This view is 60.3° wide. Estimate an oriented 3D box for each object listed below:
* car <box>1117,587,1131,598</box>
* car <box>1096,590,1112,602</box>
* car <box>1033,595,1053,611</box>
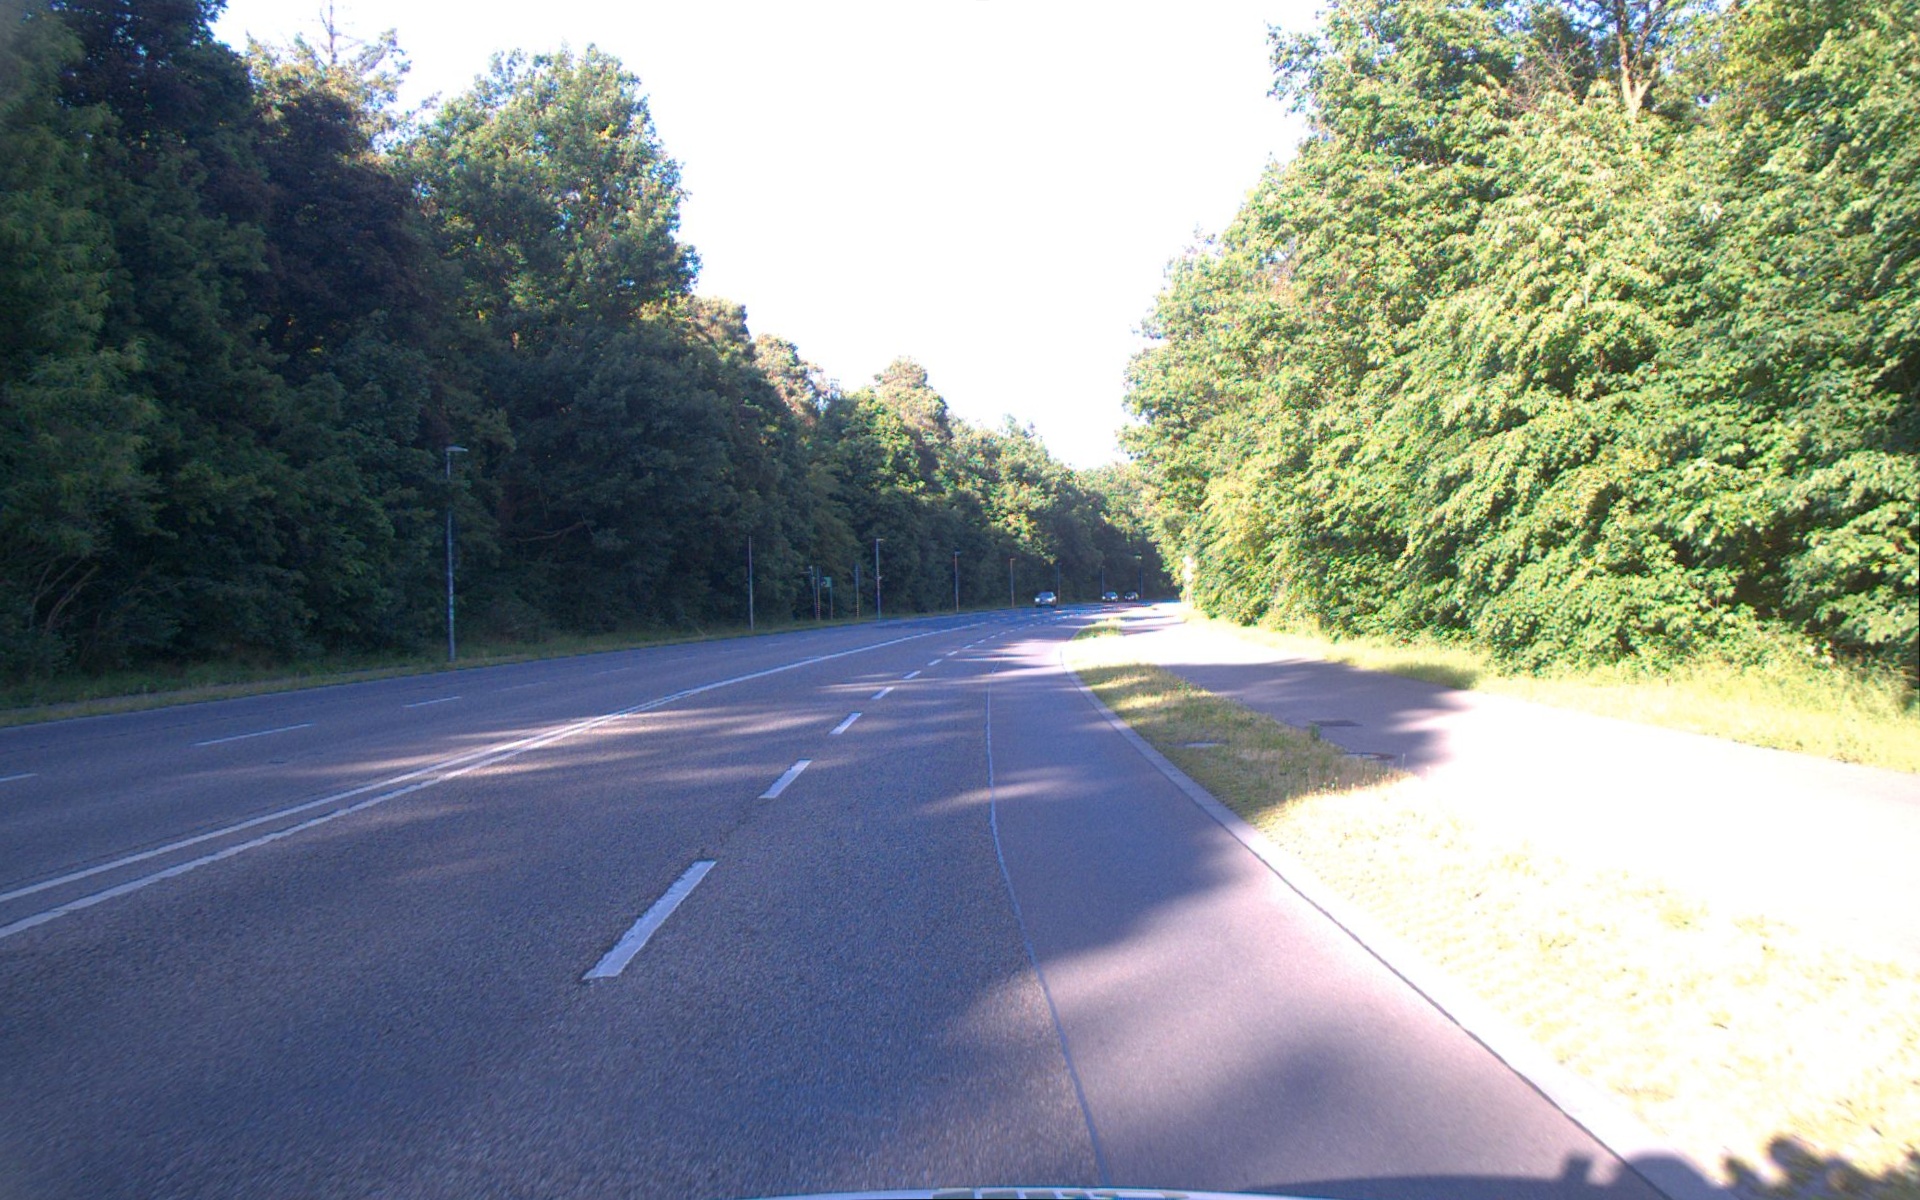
[{"bbox_3d":[25.012,-1.087,252.352,1.951,1.613,4.003,-1,-1,10],"label":"car"},{"bbox_3d":[20.138,-0.538,231.125,1.951,1.613,4.003,0,-1,8],"label":"car"},{"bbox_3d":[8.694,0.308,173.506,1.952,1.613,4.001,0,-1,2],"label":"car"}]
